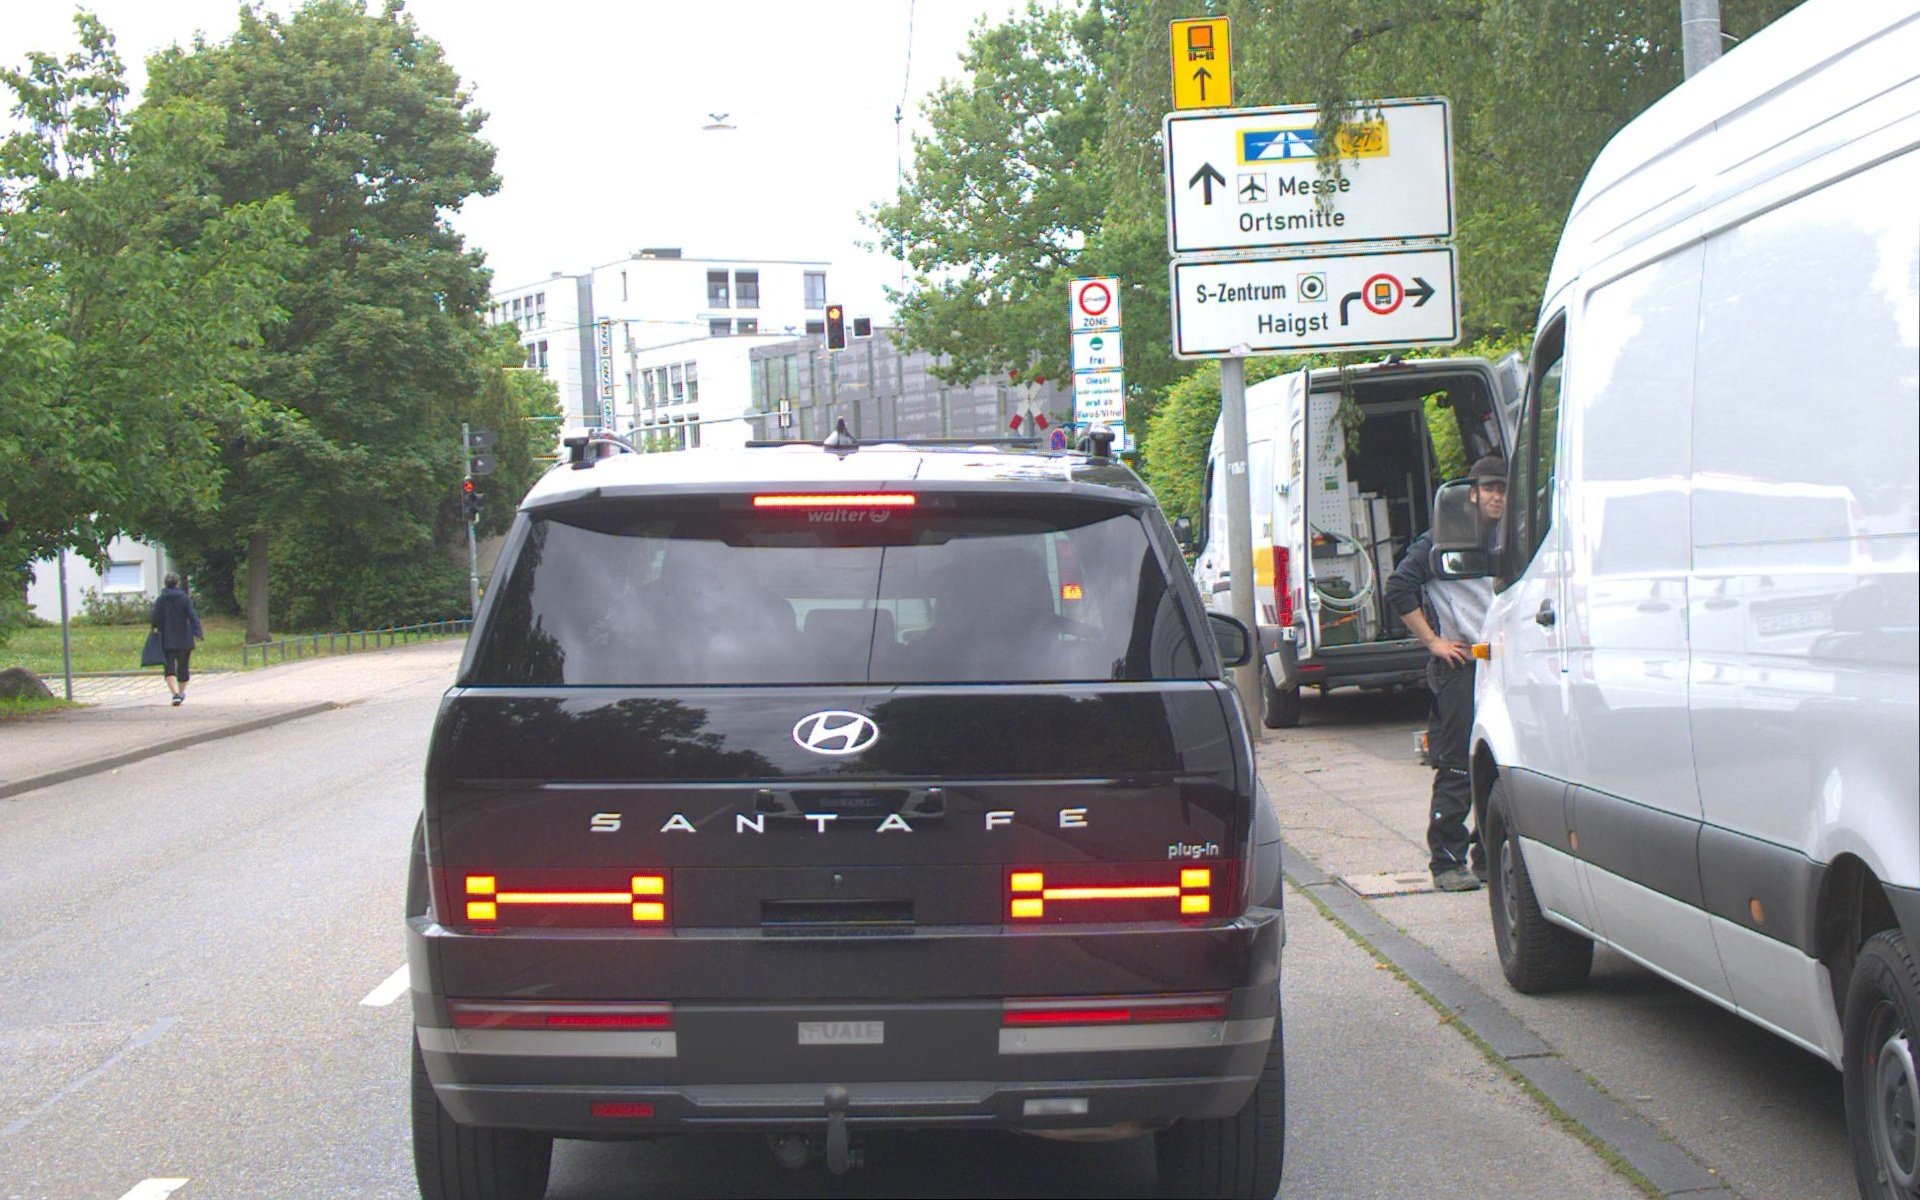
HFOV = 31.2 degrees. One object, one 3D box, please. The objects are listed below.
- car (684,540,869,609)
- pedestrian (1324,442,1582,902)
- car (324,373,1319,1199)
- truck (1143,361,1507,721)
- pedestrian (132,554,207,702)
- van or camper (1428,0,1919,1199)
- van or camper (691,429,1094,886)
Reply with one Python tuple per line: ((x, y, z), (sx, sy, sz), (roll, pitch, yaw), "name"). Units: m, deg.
((-4.827, -0.668, 90.004), (4.704, 1.742, 2.000), (1, 0, -7), "car")
((1.988, 0.278, 13.954), (0.870, 1.791, 0.760), (-2, 1, -1), "pedestrian")
((-0.284, 0.444, 8.562), (1.889, 1.813, 4.000), (0, 1, -1), "car")
((2.839, -0.460, 28.005), (1.942, 2.553, 5.217), (-3, 1, -4), "truck")
((-9.355, 0.320, 40.702), (0.738, 1.709, 0.793), (-2, 1, -7), "pedestrian")
((2.625, -0.078, 8.149), (1.993, 2.611, 6.541), (-2, 1, -1), "van or camper")
((-0.324, 0.226, 17.505), (1.754, 2.007, 4.000), (-2, 1, -1), "van or camper")
